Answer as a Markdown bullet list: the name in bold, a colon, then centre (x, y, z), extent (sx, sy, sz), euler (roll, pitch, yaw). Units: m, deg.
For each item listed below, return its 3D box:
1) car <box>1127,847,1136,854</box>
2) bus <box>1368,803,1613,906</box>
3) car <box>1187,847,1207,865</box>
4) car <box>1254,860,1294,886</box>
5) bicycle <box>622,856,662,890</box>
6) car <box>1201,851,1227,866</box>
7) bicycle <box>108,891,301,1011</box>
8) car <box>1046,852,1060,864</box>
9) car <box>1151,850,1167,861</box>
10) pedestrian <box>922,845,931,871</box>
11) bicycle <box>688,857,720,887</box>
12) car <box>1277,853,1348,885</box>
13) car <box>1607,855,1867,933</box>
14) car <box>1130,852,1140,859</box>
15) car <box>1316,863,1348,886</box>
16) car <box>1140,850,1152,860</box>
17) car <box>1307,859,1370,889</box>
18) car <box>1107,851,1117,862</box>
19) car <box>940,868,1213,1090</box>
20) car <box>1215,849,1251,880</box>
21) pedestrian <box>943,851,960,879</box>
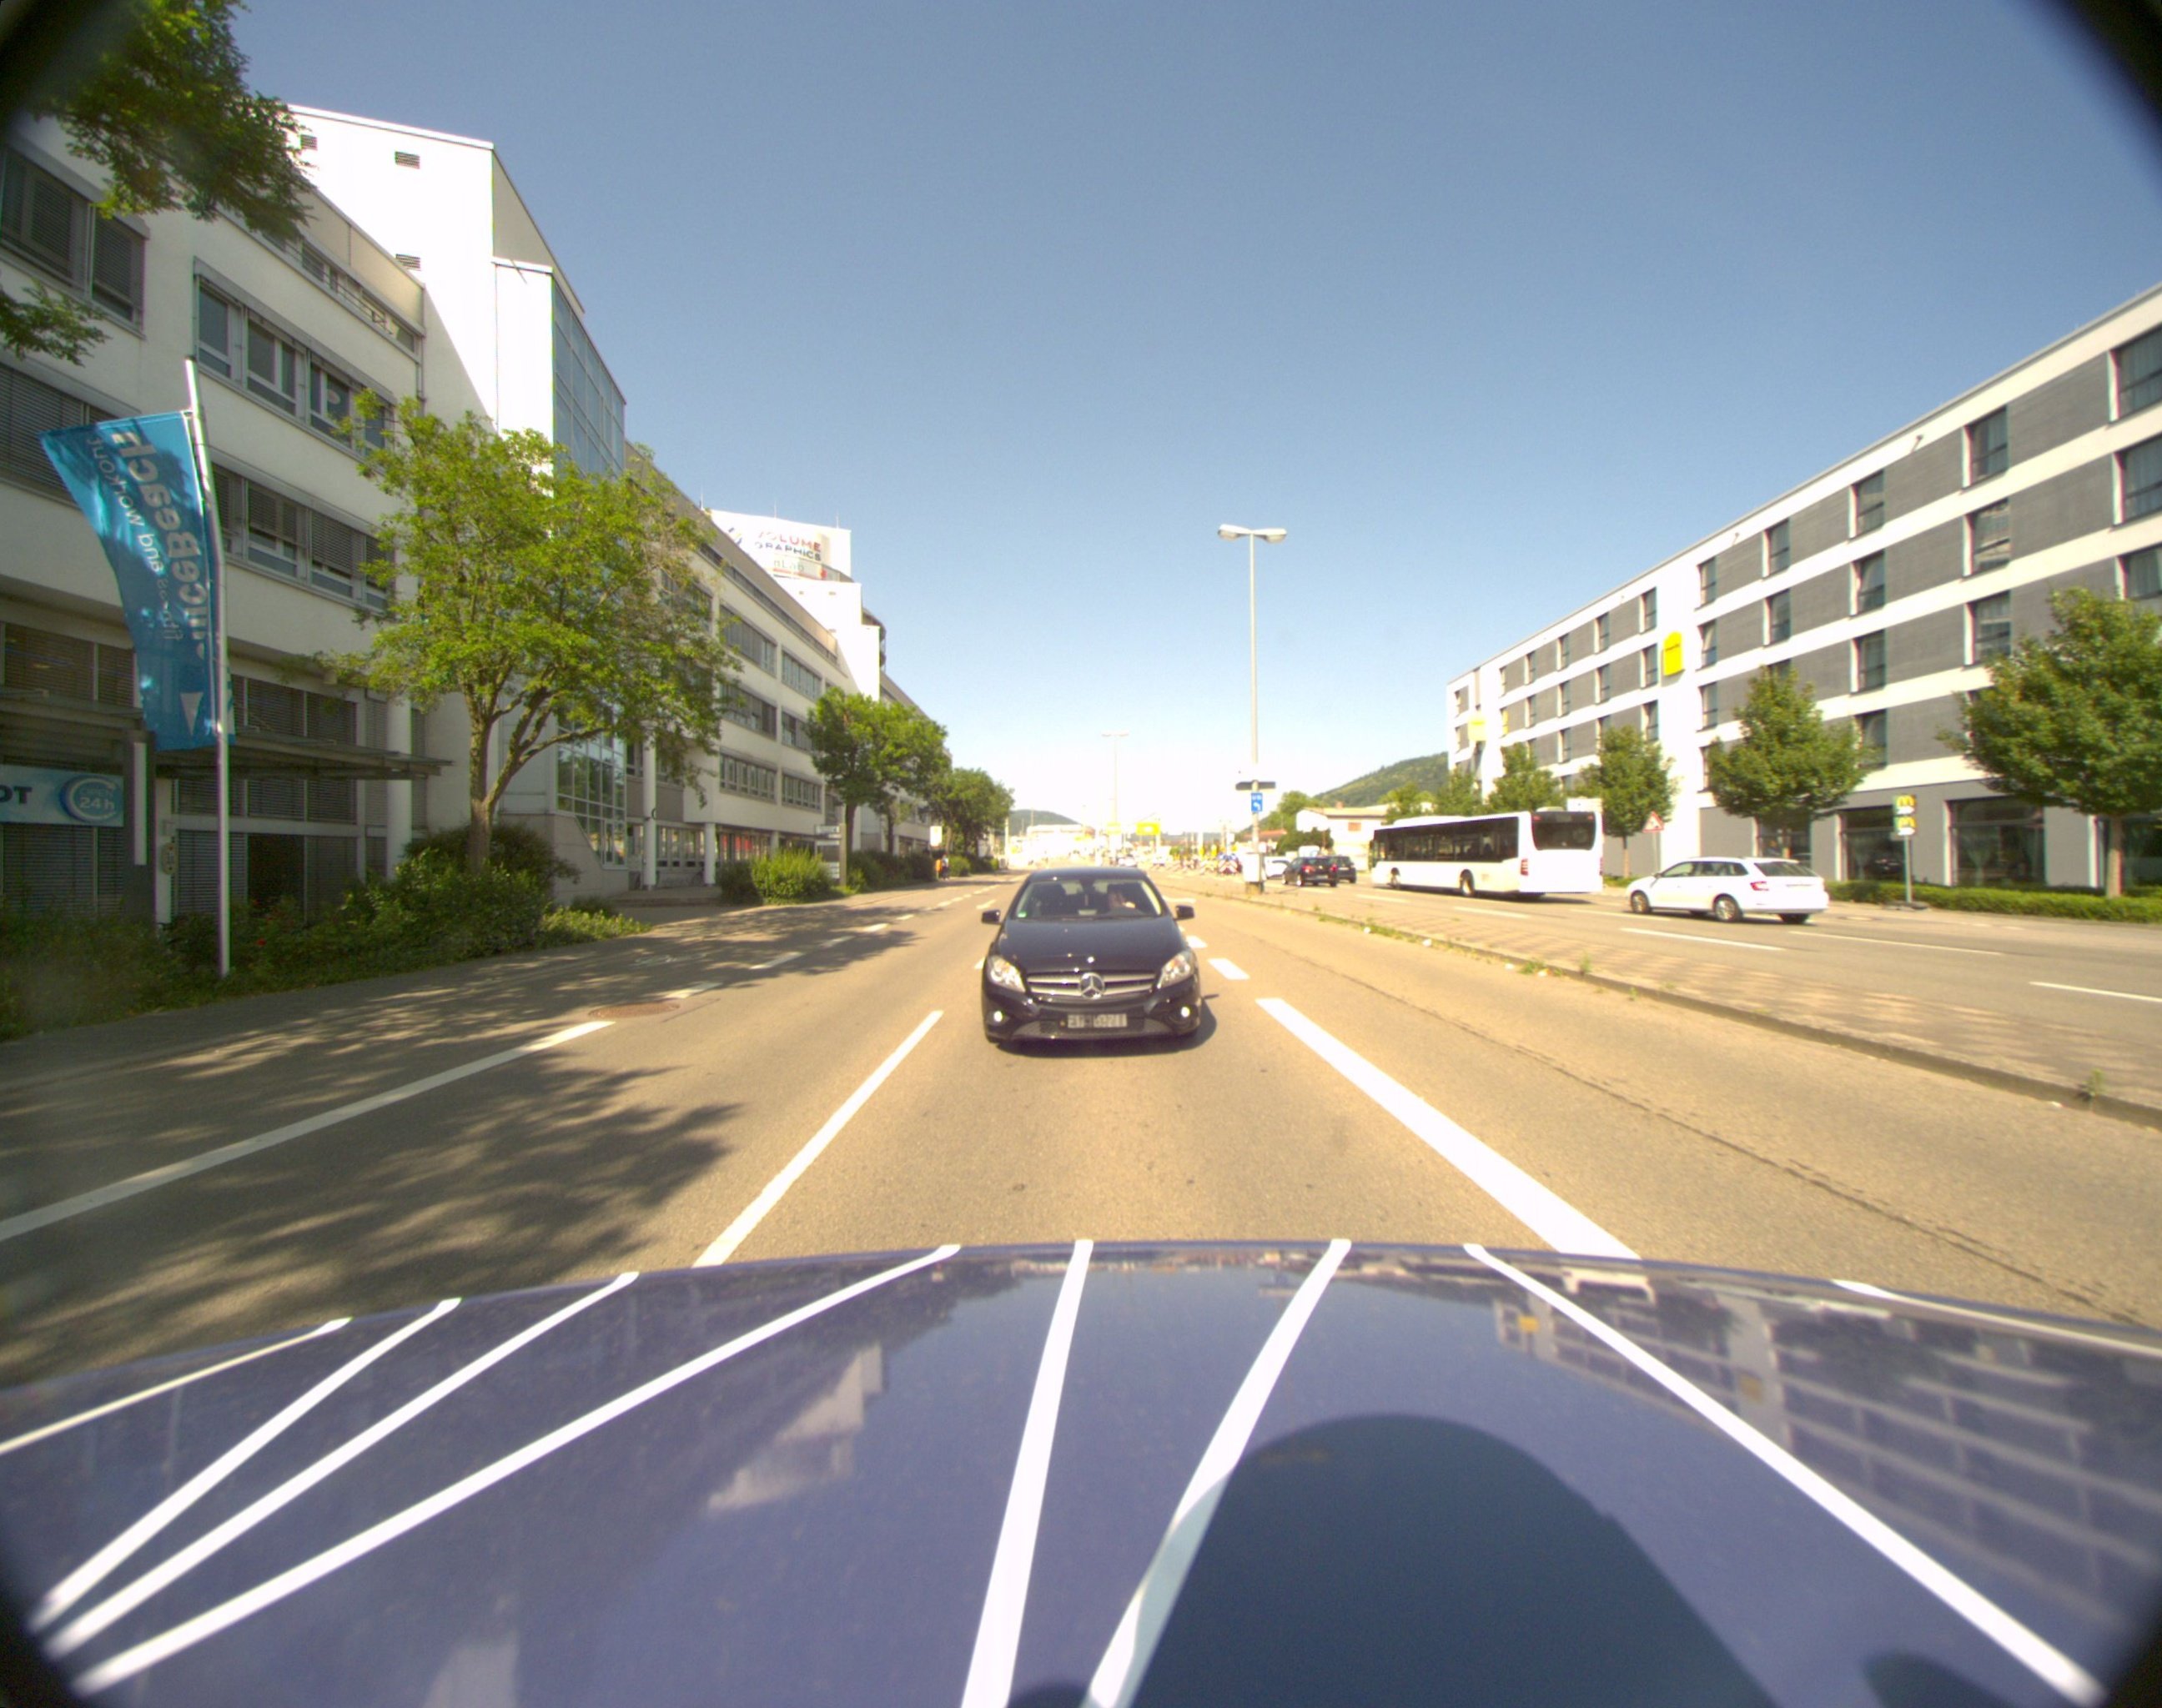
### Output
- **car**: centre (13.041, -0.964, 195.557), extent (1.999, 1.725, 3.999), euler (-1, 0, -2)
- **bus**: centre (14.666, -0.016, 28.998), extent (2.745, 3.061, 11.974), euler (1, 0, 0)
- **car**: centre (14.230, 0.235, 93.609), extent (1.998, 2.002, 4.000), euler (-2, 1, 3)
- **car**: centre (12.511, 1.210, 49.456), extent (1.763, 1.443, 4.000), euler (-2, 1, 3)
- **bicycle**: centre (-18.060, 0.769, 31.323), extent (0.506, 1.346, 1.884), euler (-1, 0, 1)
- **car**: centre (14.790, 0.491, 84.643), extent (1.998, 1.514, 4.891), euler (-1, 0, 1)
- **bicycle**: centre (-11.277, 1.188, 9.878), extent (0.506, 1.321, 1.883), euler (0, 0, -8)
- **car**: centre (-4.802, 0.697, 132.105), extent (1.998, 2.002, 4.000), euler (-2, 1, 2)
- **car**: centre (12.645, 0.271, 123.487), extent (1.998, 1.702, 4.892), euler (-1, -1, 1)
- **pedestrian**: centre (-15.184, 0.382, 74.882), extent (0.717, 2.534, 0.716), euler (-1, 1, -1)
- **bicycle**: centre (-17.719, 0.817, 35.732), extent (0.506, 1.346, 1.884), euler (-1, 0, 1)
- **car**: centre (11.273, 0.703, 37.414), extent (1.998, 1.424, 4.890), euler (-1, 0, 0)
- **car**: centre (14.963, 0.826, 17.758), extent (1.999, 1.477, 4.410), euler (2, 1, -5)
- **car**: centre (12.102, 0.358, 170.889), extent (1.815, 1.328, 3.937), euler (-3, 0, -3)
- **car**: centre (14.189, 1.134, 43.011), extent (1.058, 1.200, 2.220), euler (-2, 1, 2)
- **car**: centre (13.111, 0.208, 154.197), extent (1.999, 2.002, 3.999), euler (0, 0, -1)
- **car**: centre (14.777, 1.112, 43.915), extent (1.998, 1.514, 4.891), euler (-1, 0, 1)
- **car**: centre (6.628, 0.528, 162.441), extent (1.998, 2.002, 3.999), euler (-2, 1, 1)
- **car**: centre (-0.008, 0.927, 7.694), extent (1.905, 1.431, 4.693), euler (-1, 0, 1)
- **car**: centre (10.726, 0.722, 53.767), extent (1.679, 2.002, 4.164), euler (-2, 1, 1)
- **pedestrian**: centre (-9.187, 0.771, 53.906), extent (0.942, 1.875, 1.289), euler (2, 1, 0)
